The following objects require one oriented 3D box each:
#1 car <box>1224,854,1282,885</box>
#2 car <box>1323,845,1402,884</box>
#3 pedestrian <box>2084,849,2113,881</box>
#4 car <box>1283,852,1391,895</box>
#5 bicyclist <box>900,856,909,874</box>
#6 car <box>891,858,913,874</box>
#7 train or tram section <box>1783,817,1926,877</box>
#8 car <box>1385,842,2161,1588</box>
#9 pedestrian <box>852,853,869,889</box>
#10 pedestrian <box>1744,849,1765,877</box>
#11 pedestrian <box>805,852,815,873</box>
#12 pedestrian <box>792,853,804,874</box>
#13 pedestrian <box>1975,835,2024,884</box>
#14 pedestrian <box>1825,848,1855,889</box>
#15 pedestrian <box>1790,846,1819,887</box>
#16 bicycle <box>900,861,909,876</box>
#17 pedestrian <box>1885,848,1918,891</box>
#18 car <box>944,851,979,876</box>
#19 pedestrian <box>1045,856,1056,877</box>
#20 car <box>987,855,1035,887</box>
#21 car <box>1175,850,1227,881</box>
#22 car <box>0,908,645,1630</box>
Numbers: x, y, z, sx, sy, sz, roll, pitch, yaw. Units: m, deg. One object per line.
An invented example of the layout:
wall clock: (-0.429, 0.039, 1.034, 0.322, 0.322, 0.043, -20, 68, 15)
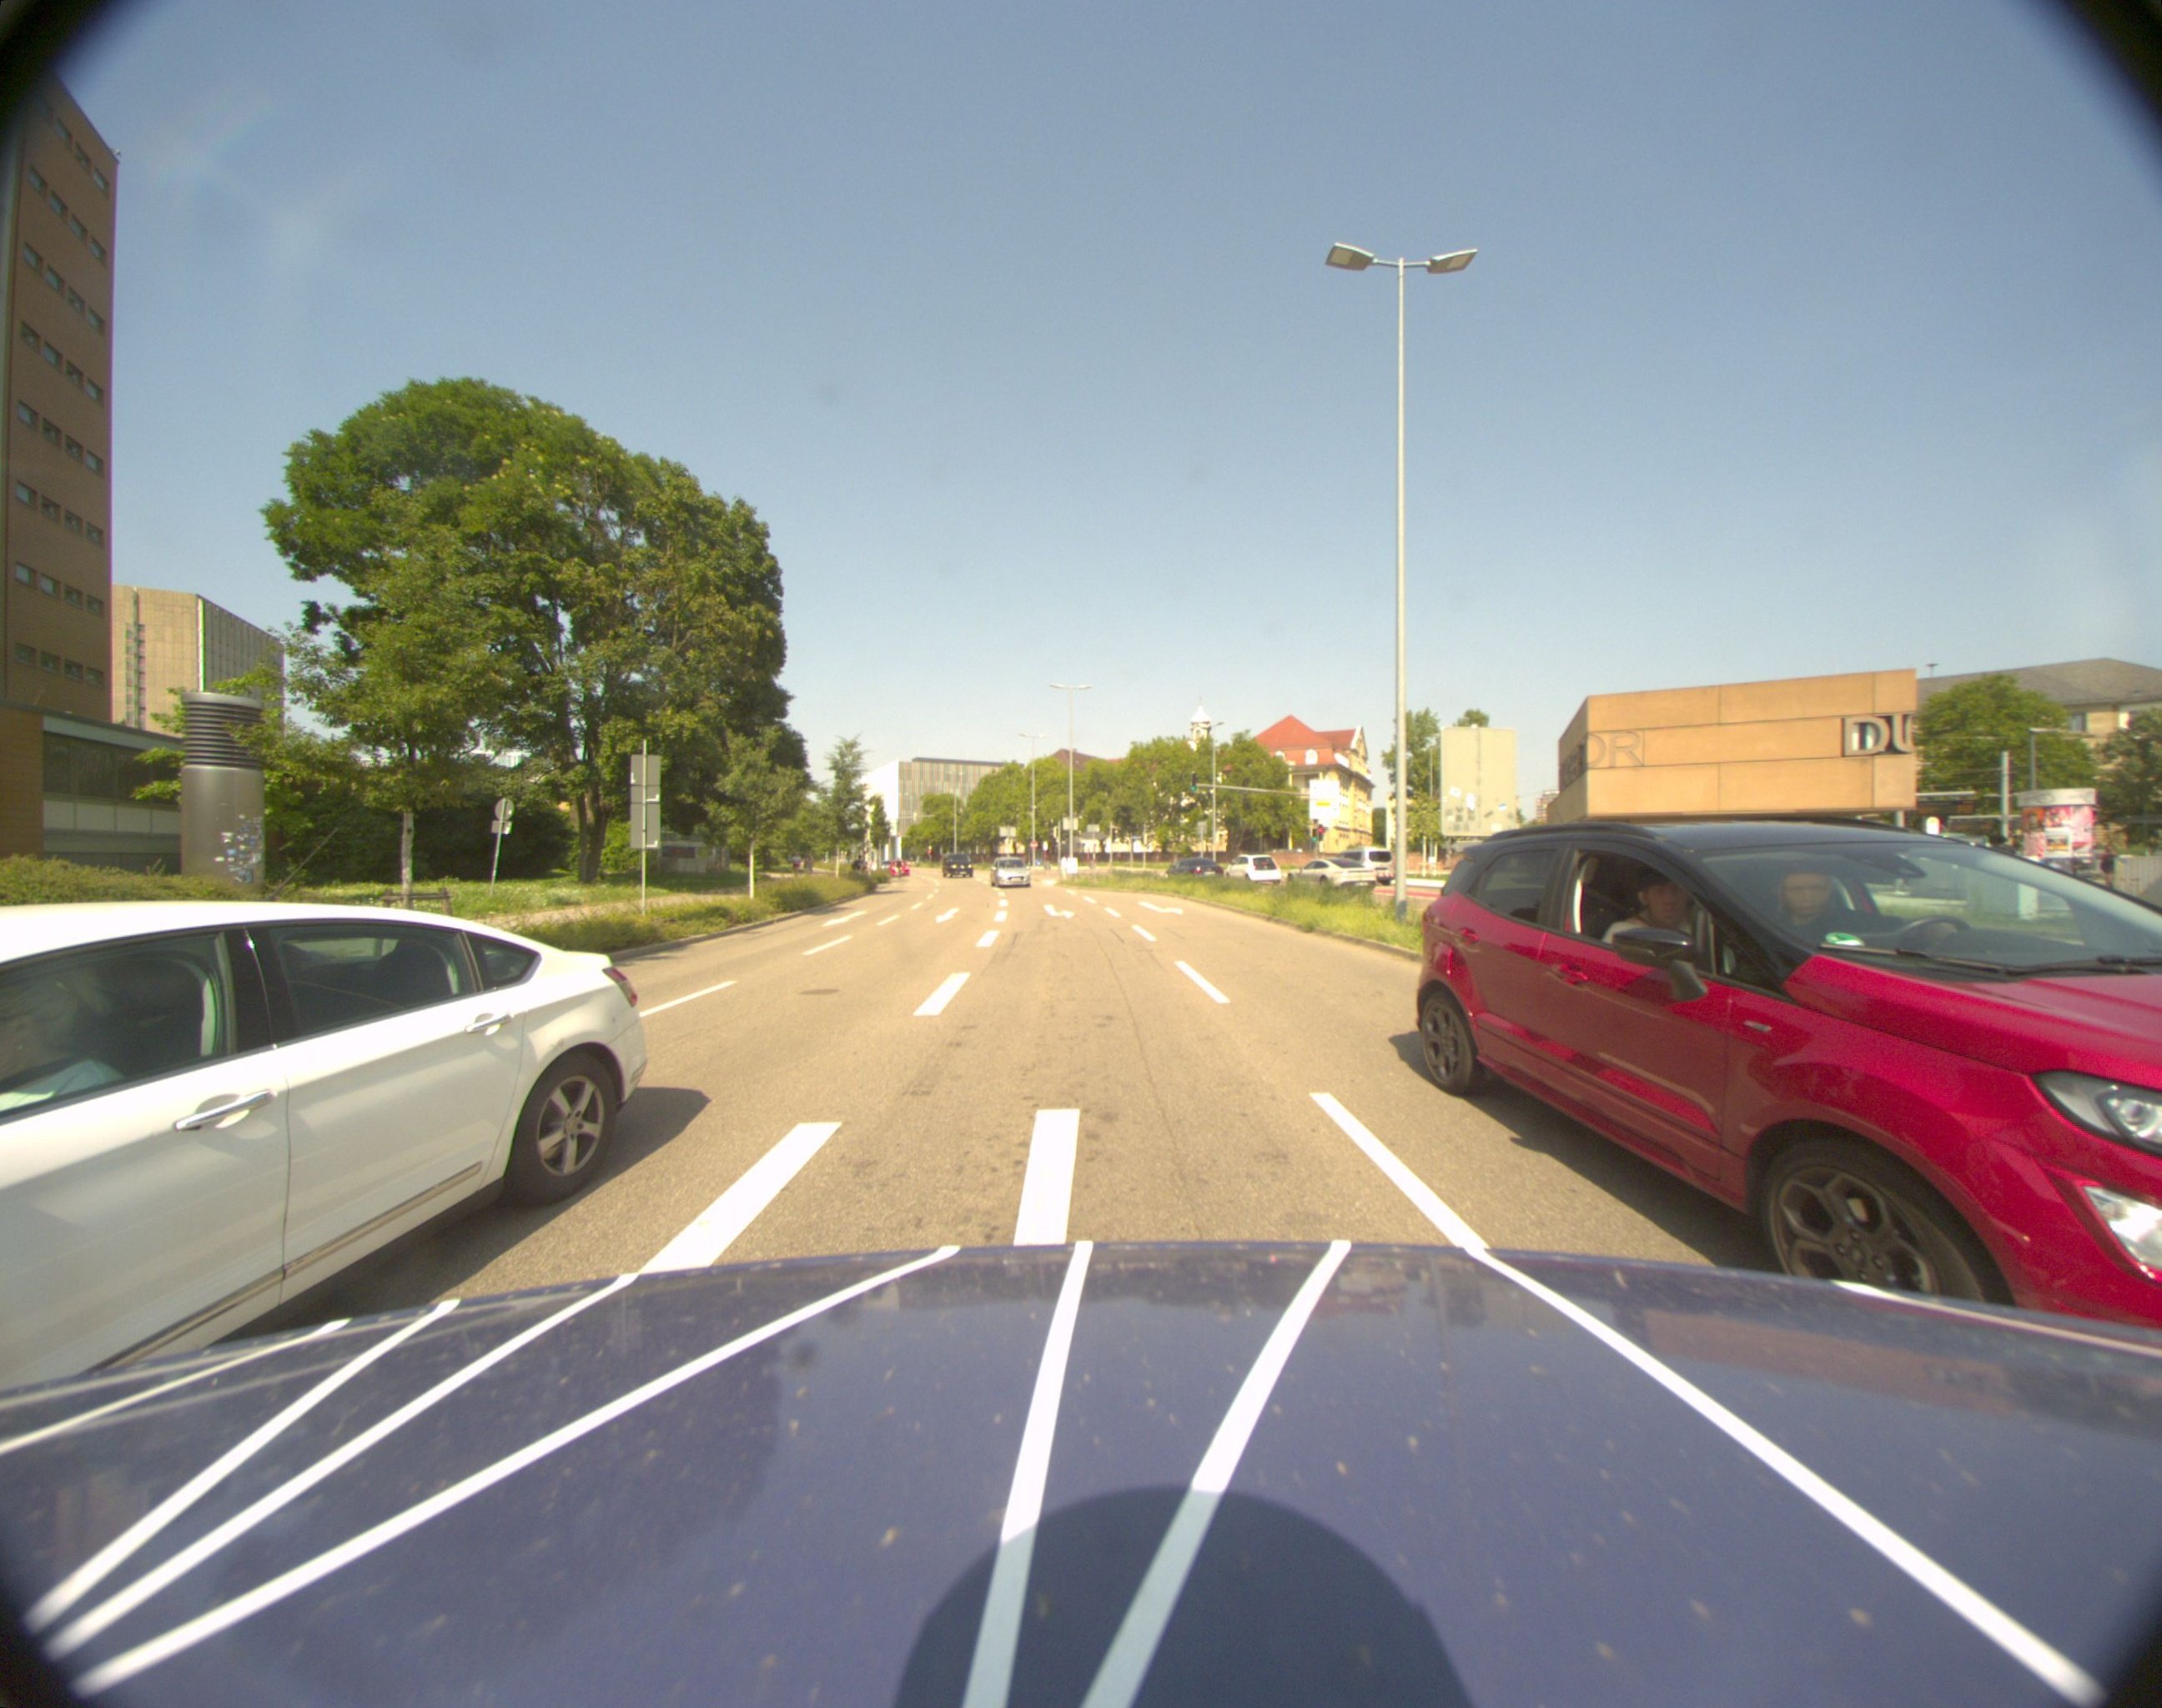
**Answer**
car: (8.672, 0.745, 38.631, 1.527, 1.470, 3.473, 0, 0, -13)
car: (13.835, 0.462, 37.597, 1.869, 1.843, 3.911, 0, 1, -12)
pedestrian: (43.770, 0.465, 32.681, 0.554, 1.386, 0.534, 0, 1, 28)
car: (10.155, 0.722, 30.618, 2.001, 1.576, 4.710, 0, 0, -12)
bicyclist: (-14.310, 0.902, 61.486, 0.680, 1.392, 1.048, -1, 1, -14)
car: (-16.581, 1.096, 70.456, 1.652, 1.422, 3.810, -2, 0, -18)
train or tram section: (50.033, -0.423, 49.753, 2.698, 3.418, 13.446, 0, 0, 28)
car: (2.994, 0.773, 3.535, 1.694, 1.577, 3.845, -2, 0, 2)
pedestrian: (-11.787, 0.910, 40.634, 0.823, 1.892, 0.630, -1, 1, -12)
pedestrian: (26.824, 0.364, 30.277, 0.538, 1.093, 0.543, 0, 1, 32)
pedestrian: (-17.291, 0.546, 48.479, 0.577, 1.291, 0.437, -3, 1, -19)
pedestrian: (-17.964, 0.579, 48.227, 0.635, 1.291, 0.486, -3, 1, -17)
pedestrian: (28.388, 0.176, 23.484, 0.771, 1.488, 0.606, 0, 1, -1)
pedestrian: (27.923, 0.523, 27.949, 0.539, 1.488, 0.541, 0, 1, -1)
pedestrian: (26.682, 0.447, 28.027, 0.539, 1.488, 0.541, 0, 1, -1)
bicycle: (-14.327, 1.202, 61.598, 0.595, 1.162, 2.232, -1, 0, -15)
pedestrian: (28.825, 0.547, 26.697, 0.539, 1.488, 0.541, 0, 1, -1)
car: (-9.640, 0.746, 61.217, 1.893, 1.908, 4.526, -2, 0, -20)
pedestrian: (-1.951, 0.771, 48.552, 0.605, 1.291, 0.617, -2, 1, -4)
car: (-3.775, 0.878, 40.167, 1.661, 1.521, 4.527, -2, 0, -16)
car: (5.740, 0.547, 36.755, 1.526, 1.417, 3.474, 0, 0, -8)
car: (-3.290, 1.018, 1.837, 1.773, 1.420, 4.609, 0, 0, 0)
